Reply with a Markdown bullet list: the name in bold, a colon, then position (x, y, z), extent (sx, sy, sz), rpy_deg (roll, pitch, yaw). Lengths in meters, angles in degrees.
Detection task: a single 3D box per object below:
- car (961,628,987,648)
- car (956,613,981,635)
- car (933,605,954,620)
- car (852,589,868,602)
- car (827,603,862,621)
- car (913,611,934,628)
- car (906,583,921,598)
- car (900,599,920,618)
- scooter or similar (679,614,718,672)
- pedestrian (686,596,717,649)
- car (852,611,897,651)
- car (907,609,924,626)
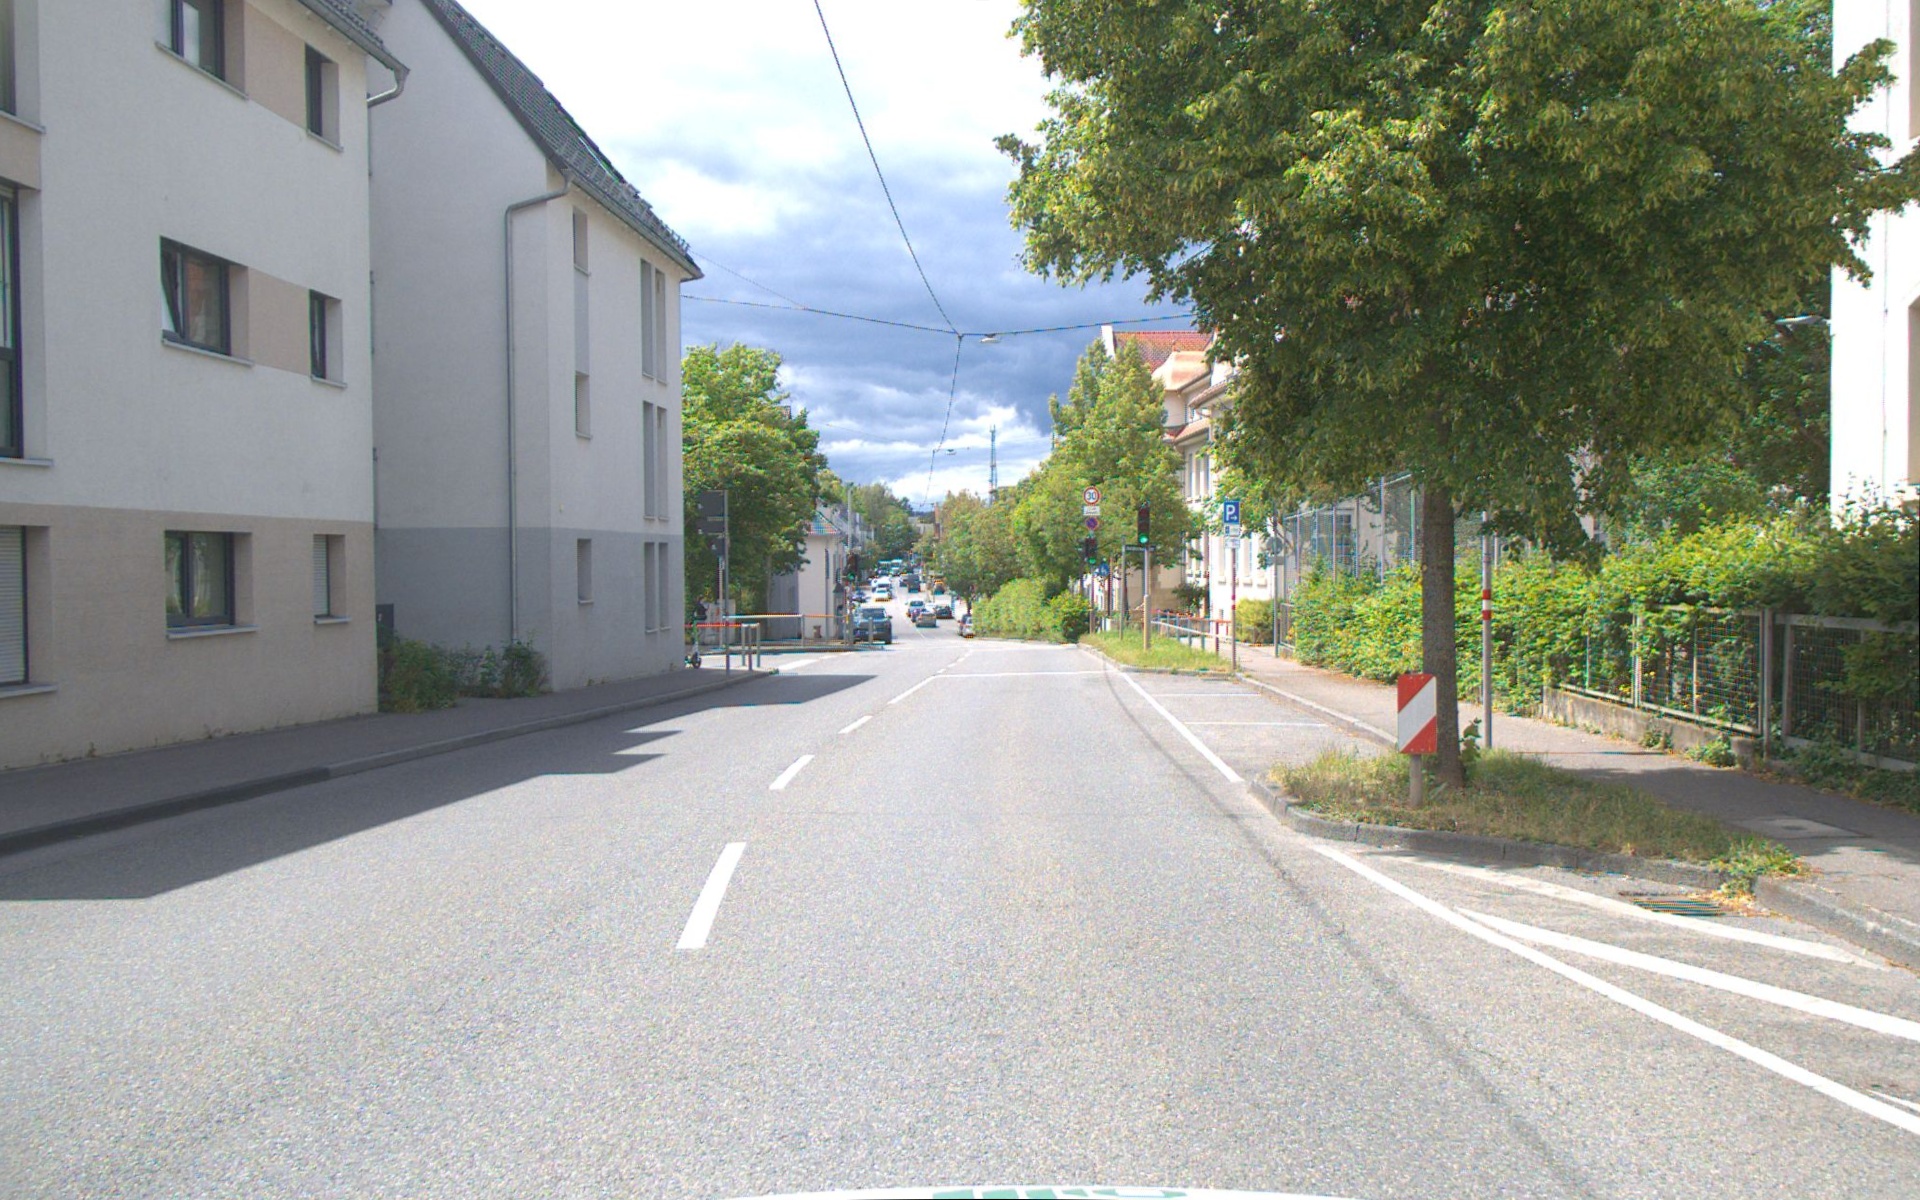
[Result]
- **car**: position (1.080, 2.952, 128.708), extent (1.750, 1.536, 4.362), rpy_deg (0, -1, -3)
- **car**: position (0.659, 1.954, 134.638), extent (1.807, 1.799, 4.512), rpy_deg (0, -1, -3)
- **car**: position (-1.750, 1.296, 175.090), extent (1.719, 1.394, 3.995), rpy_deg (0, 2, -7)
- **car**: position (-13.075, -0.564, 216.456), extent (1.835, 1.669, 3.999), rpy_deg (1, -1, 0)
- **car**: position (-13.580, 1.442, 194.534), extent (3.915, 2.049, 1.995), rpy_deg (1, -1, -11)
- **car**: position (-3.496, 1.869, 159.345), extent (1.710, 1.441, 3.997), rpy_deg (6, -1, -4)
- **car**: position (-7.299, -1.438, 259.114), extent (2.388, 2.359, 5.323), rpy_deg (0, 0, -3)
- **car**: position (-5.369, 0.943, 178.377), extent (1.801, 1.894, 3.845), rpy_deg (0, 2, -7)
- **scooter or similar**: position (-5.962, 0.980, 37.615), extent (0.484, 1.283, 1.296), rpy_deg (-1, -1, -27)
- **pedestrian**: position (-7.980, 0.699, 51.004), extent (0.762, 1.625, 0.665), rpy_deg (0, -1, -31)
- **car**: position (-3.682, 1.335, 71.961), extent (1.759, 1.638, 4.645), rpy_deg (-1, 0, -1)
- **car**: position (-4.569, 1.749, 169.311), extent (1.250, 1.553, 3.044), rpy_deg (-1, 3, -9)
